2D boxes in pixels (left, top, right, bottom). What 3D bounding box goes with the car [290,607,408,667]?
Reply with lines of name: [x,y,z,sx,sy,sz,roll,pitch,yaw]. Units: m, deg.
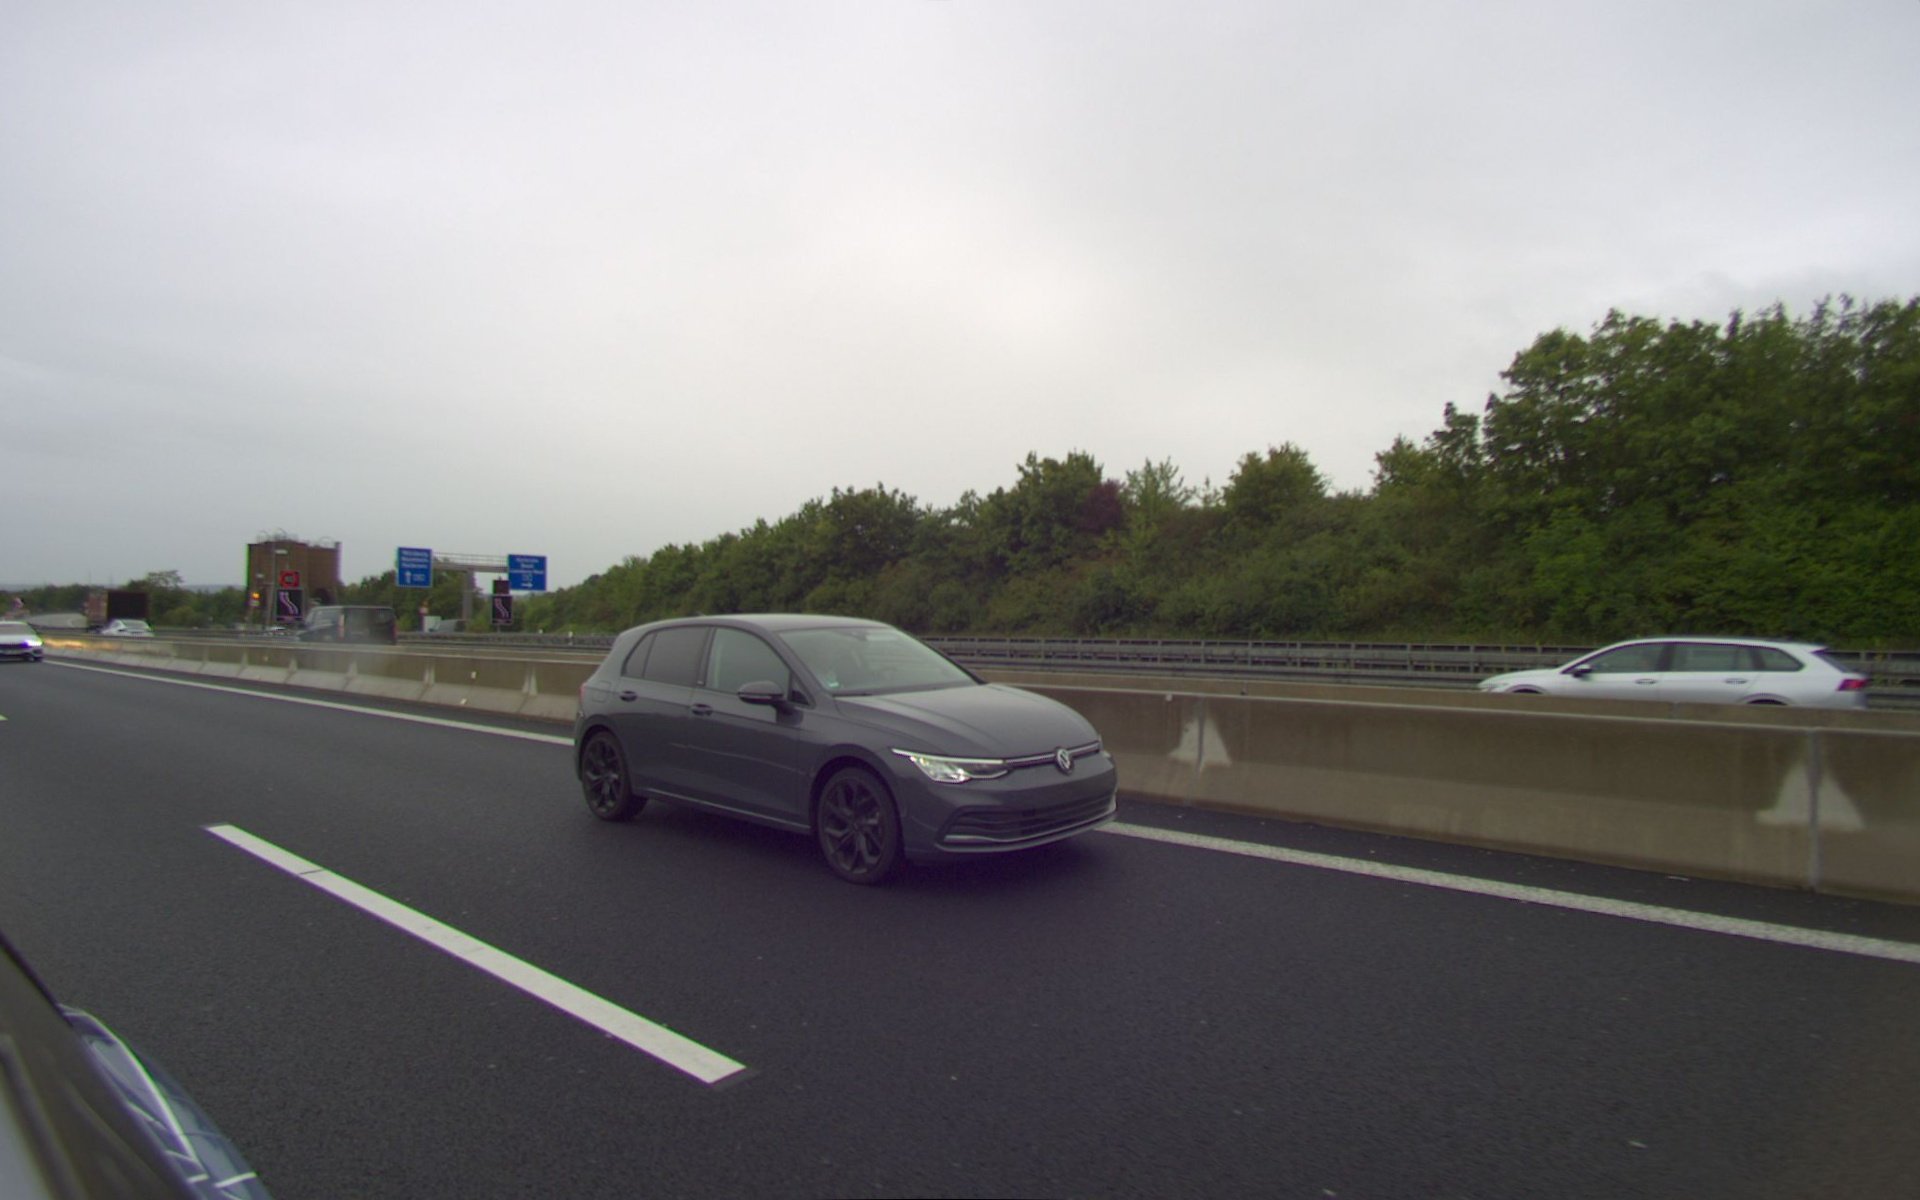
car: [-20.713,1.219,34.250,4.675,1.850,1.974,-1,0,40]

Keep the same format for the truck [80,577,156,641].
truck: [-67.193,0.755,80.682,10.485,4.769,3.363,-1,-1,43]

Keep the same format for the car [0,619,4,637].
car: [-100.046,2.830,103.986,5.217,1.877,1.973,-1,-3,40]

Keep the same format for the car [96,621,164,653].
car: [-49.145,2.178,59.892,4.955,1.779,2.135,-2,-1,39]

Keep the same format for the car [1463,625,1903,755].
car: [9.770,1.108,14.014,4.676,1.446,1.973,-1,0,41]

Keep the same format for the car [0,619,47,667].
car: [-34.583,1.526,36.434,4.813,1.603,1.973,-1,-1,41]

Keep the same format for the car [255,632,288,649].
car: [-61.897,3.608,91.025,3.998,1.409,1.507,-1,-1,41]

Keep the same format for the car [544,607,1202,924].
car: [-0.812,0.801,6.732,4.364,1.436,1.812,-1,-1,40]
